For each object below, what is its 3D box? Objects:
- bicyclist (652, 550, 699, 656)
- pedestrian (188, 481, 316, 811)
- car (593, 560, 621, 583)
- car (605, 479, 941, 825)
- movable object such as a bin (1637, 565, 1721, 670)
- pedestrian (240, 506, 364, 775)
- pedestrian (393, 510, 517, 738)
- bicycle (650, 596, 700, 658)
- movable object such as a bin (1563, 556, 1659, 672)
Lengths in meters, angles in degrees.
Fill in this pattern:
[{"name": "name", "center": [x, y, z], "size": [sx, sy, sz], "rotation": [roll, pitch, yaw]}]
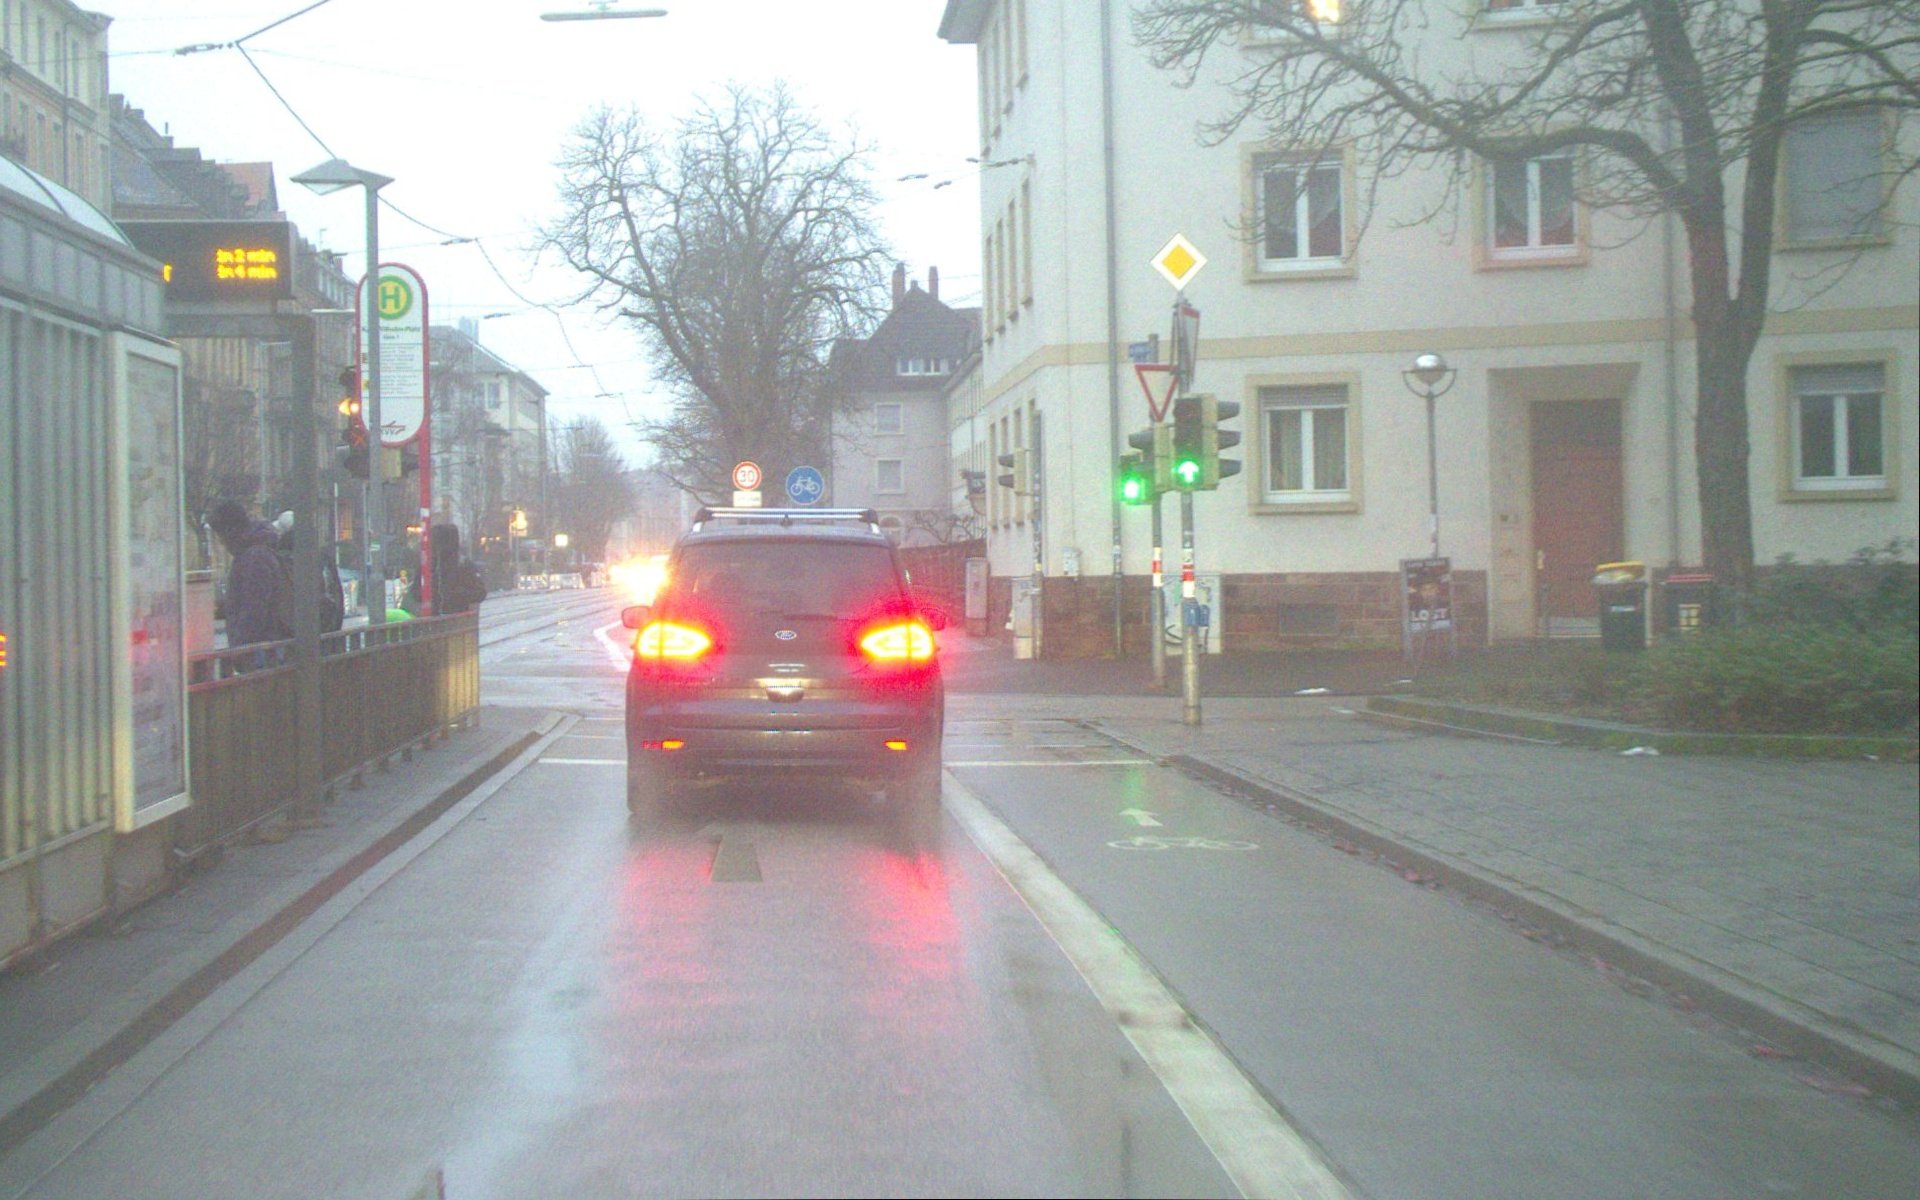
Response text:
[{"name": "bicyclist", "center": [-4.724, 0.046, 57.082], "size": [0.730, 1.730, 0.766], "rotation": [0, 0, -2]}, {"name": "pedestrian", "center": [-3.950, 0.250, 19.215], "size": [0.557, 1.801, 0.571], "rotation": [2, 0, -2]}, {"name": "car", "center": [-26.564, -2.175, 258.610], "size": [1.923, 1.714, 4.001], "rotation": [-1, 1, -3]}, {"name": "car", "center": [-1.098, 0.268, 21.119], "size": [1.802, 1.864, 4.018], "rotation": [2, 1, -2]}, {"name": "movable object such as a bin", "center": [7.873, 0.188, 37.637], "size": [0.700, 1.116, 0.537], "rotation": [2, 1, 39]}, {"name": "pedestrian", "center": [-4.265, 0.258, 22.300], "size": [0.657, 1.702, 0.571], "rotation": [2, 0, -2]}, {"name": "pedestrian", "center": [-4.333, 0.201, 29.527], "size": [0.688, 1.911, 0.716], "rotation": [2, 0, 39]}, {"name": "bicycle", "center": [-4.726, 0.442, 57.116], "size": [0.731, 1.003, 1.764], "rotation": [0, 1, -2]}, {"name": "movable object such as a bin", "center": [7.221, 0.151, 38.153], "size": [0.853, 1.247, 0.521], "rotation": [2, 1, 39]}]
